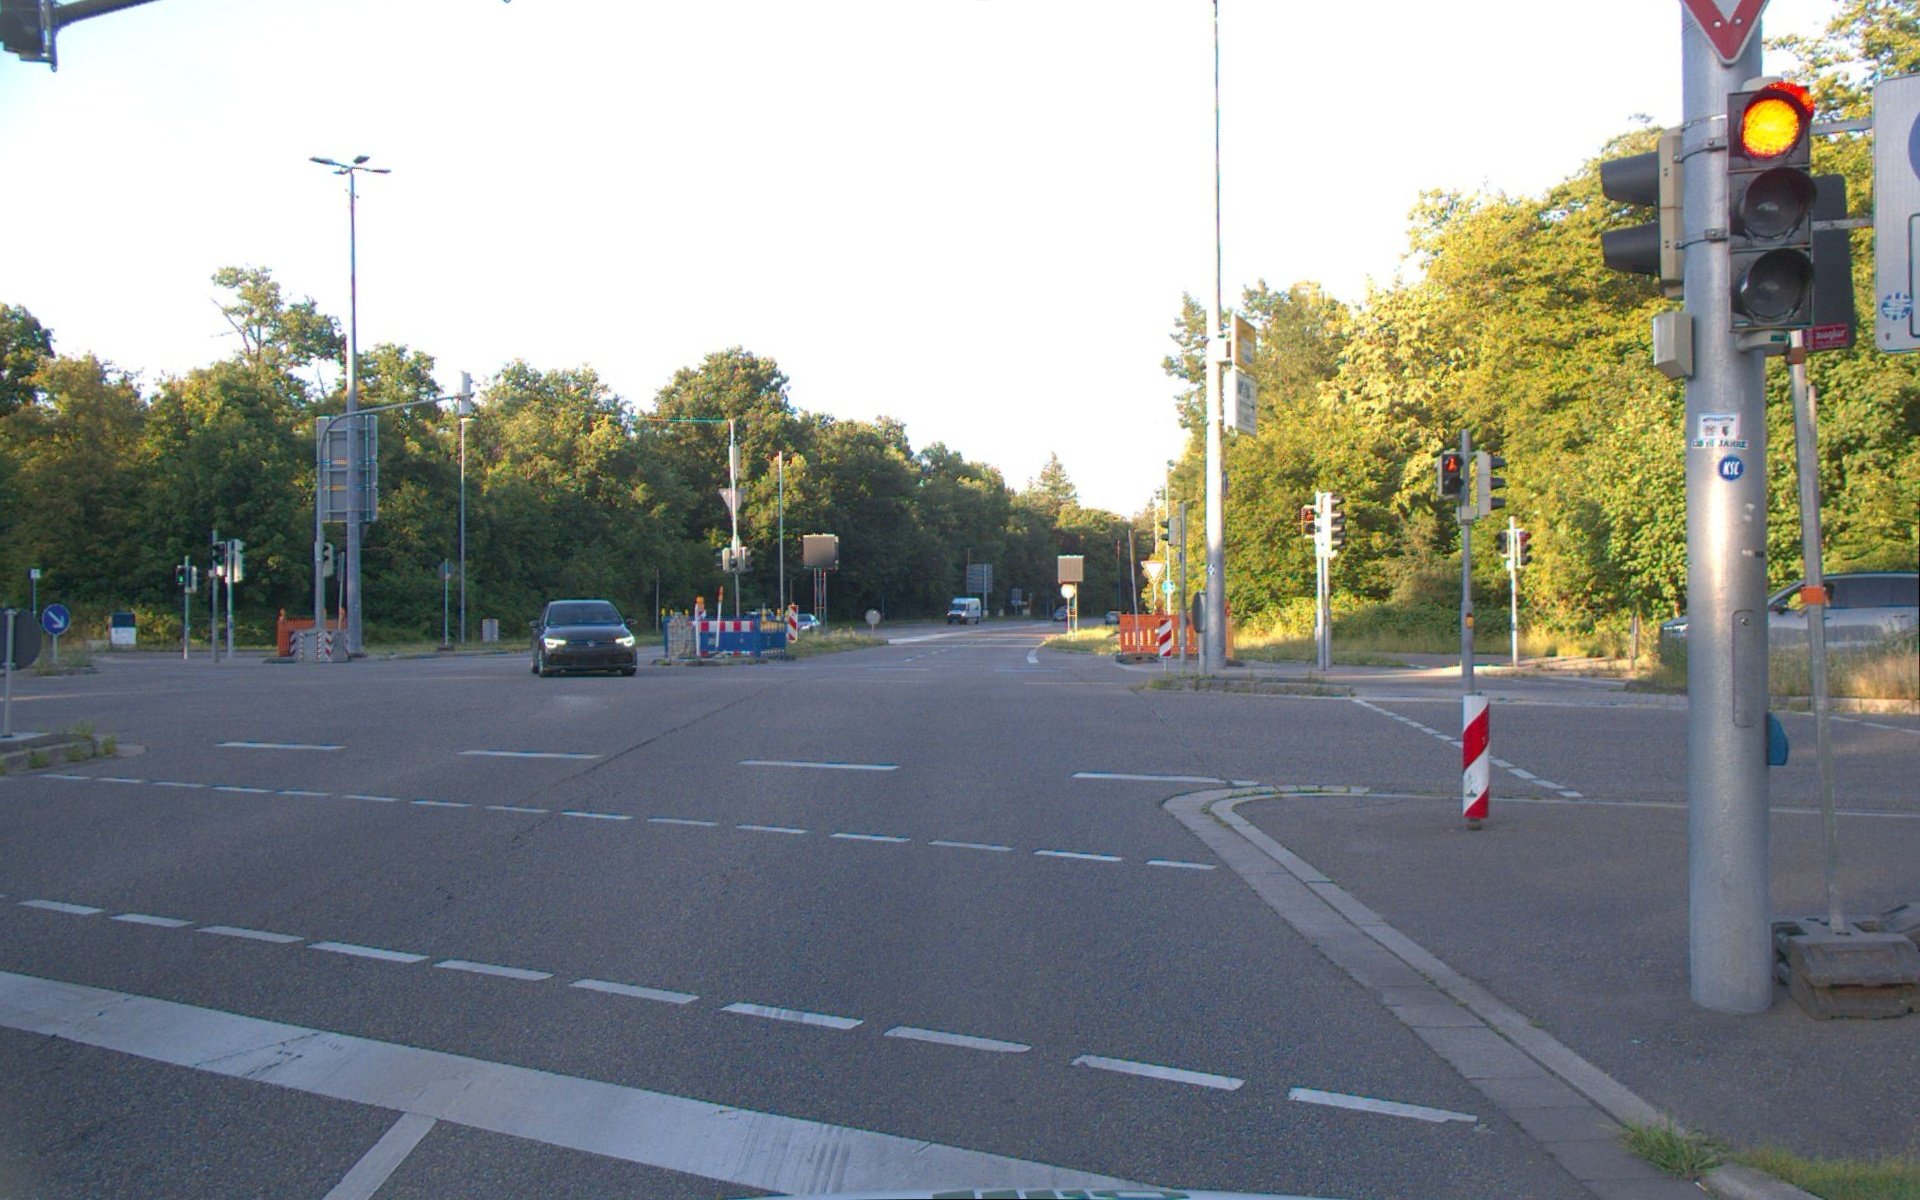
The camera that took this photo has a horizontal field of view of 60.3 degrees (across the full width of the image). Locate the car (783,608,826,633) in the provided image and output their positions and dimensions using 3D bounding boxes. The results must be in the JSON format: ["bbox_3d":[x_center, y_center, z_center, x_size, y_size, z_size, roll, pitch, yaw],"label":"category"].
[{"bbox_3d":[-9.231,1.215,98.473,1.952,1.445,4.001,0,0,3],"label":"car"}]

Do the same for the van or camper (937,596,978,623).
[{"bbox_3d":[-0.212,0.963,171.100,2.823,2.699,7.128,0,0,11],"label":"van or camper"}]

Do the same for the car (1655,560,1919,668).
[{"bbox_3d":[13.743,0.221,26.486,4.716,1.626,2.000,-1,0,21],"label":"car"}]

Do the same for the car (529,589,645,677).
[{"bbox_3d":[-7.330,0.591,32.229,1.961,1.556,4.658,0,0,-16],"label":"car"}]

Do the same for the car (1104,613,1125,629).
[{"bbox_3d":[17.311,2.355,185.368,1.951,1.646,4.003,0,0,11],"label":"car"}]
